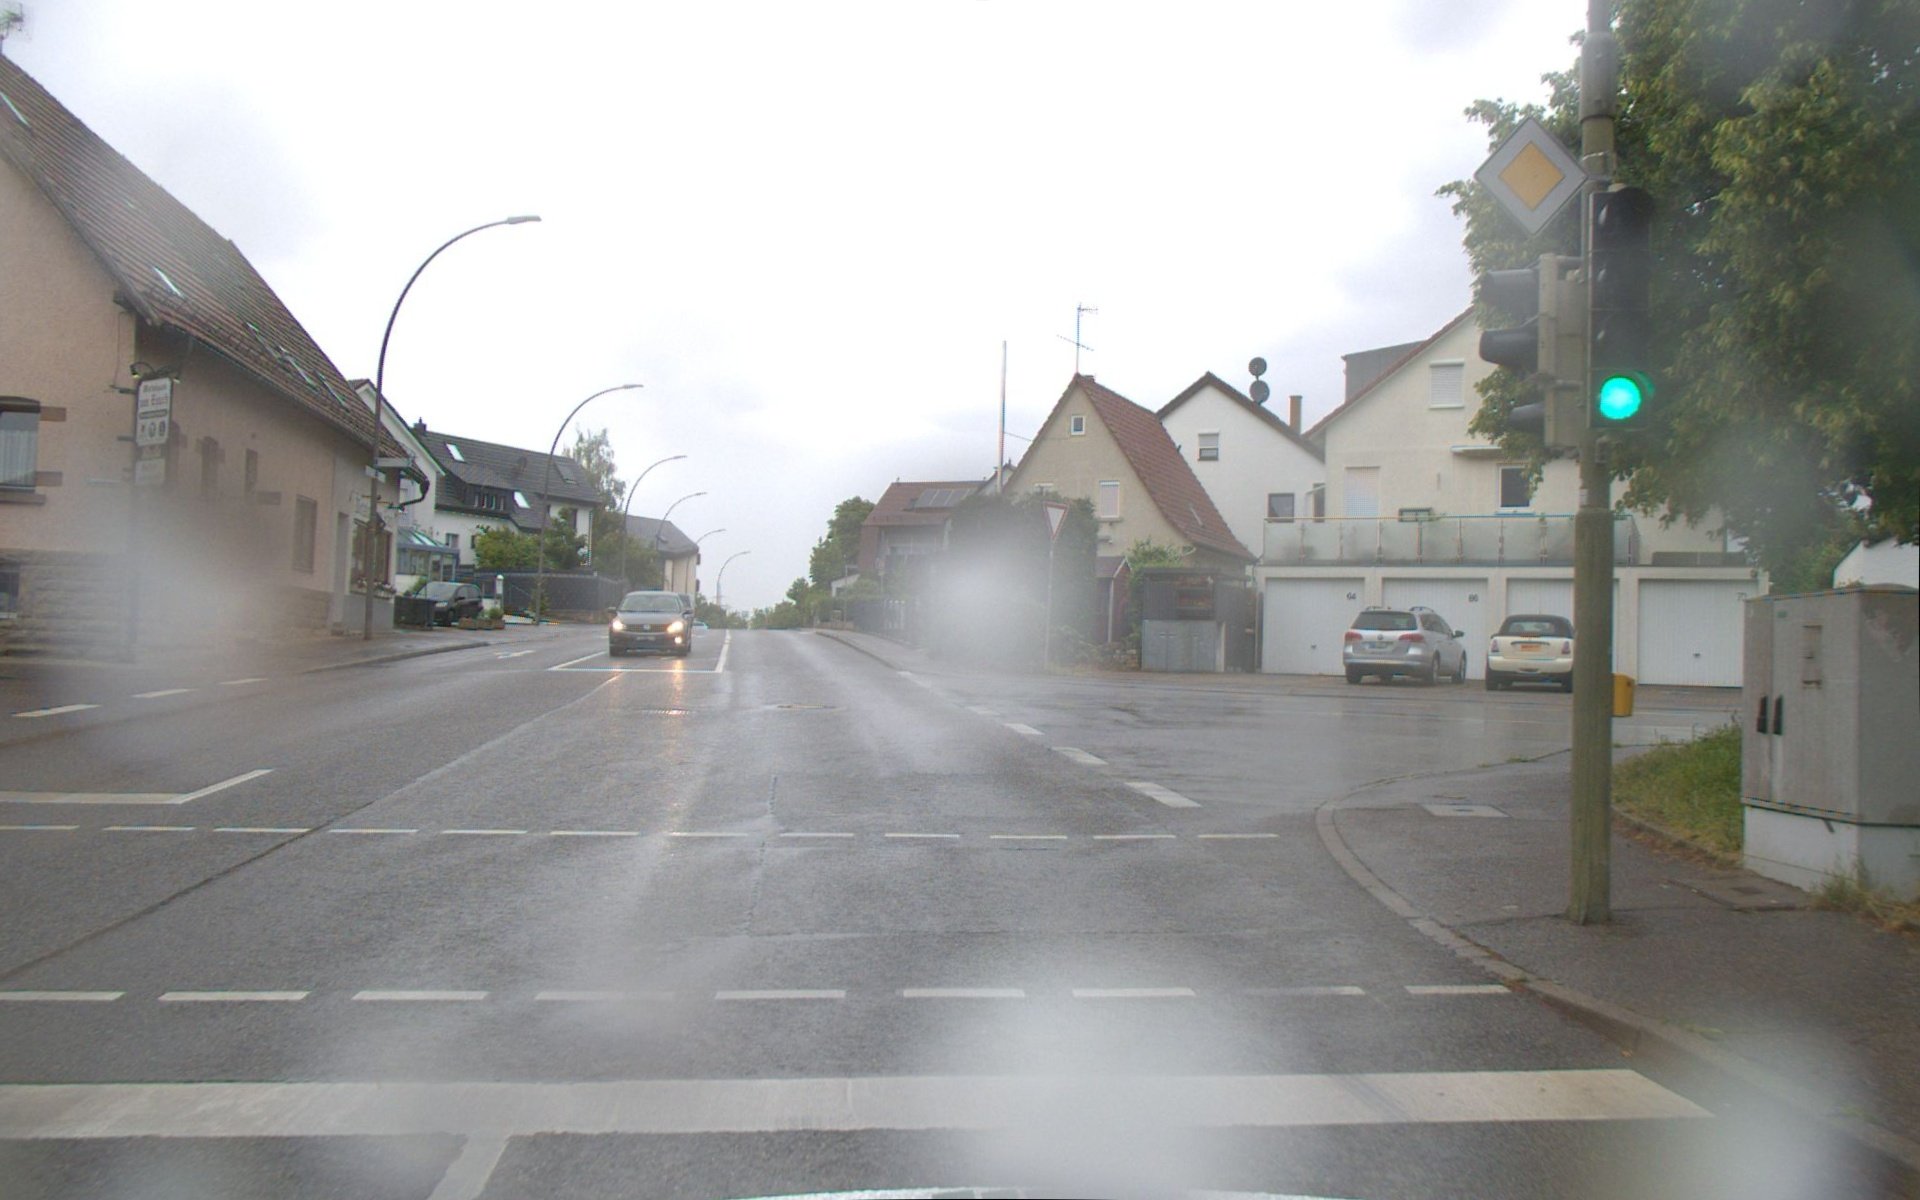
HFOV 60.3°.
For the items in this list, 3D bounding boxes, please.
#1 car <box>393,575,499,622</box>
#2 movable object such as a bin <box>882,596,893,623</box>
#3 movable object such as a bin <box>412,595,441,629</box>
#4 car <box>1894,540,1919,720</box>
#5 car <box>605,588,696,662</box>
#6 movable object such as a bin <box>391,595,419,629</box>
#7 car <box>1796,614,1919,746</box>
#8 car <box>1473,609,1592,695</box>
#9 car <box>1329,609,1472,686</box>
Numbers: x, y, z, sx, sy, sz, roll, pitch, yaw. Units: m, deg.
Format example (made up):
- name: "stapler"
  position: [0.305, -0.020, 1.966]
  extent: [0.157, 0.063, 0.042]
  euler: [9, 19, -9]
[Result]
- name: "car"
  position: [-17.764, -0.044, 57.305]
  extent: [1.861, 1.467, 3.831]
  euler: [3, 0, 11]
- name: "movable object such as a bin"
  position: [-2.887, 0.378, 65.976]
  extent: [0.434, 1.039, 0.524]
  euler: [0, -1, -2]
- name: "movable object such as a bin"
  position: [-16.545, 0.375, 51.326]
  extent: [0.624, 1.050, 0.674]
  euler: [0, -1, 6]
- name: "car"
  position: [9.709, 0.240, 12.872]
  extent: [3.902, 1.481, 1.856]
  euler: [0, -1, 16]
- name: "car"
  position: [-7.172, 0.541, 38.049]
  extent: [1.910, 1.601, 4.212]
  euler: [1, 0, -13]
- name: "movable object such as a bin"
  position: [-17.238, 0.369, 51.403]
  extent: [0.624, 1.050, 0.605]
  euler: [0, -1, 6]
- name: "car"
  position: [12.347, 0.959, 19.458]
  extent: [4.086, 1.467, 1.835]
  euler: [2, 0, 8]
- name: "car"
  position: [11.356, 0.966, 32.656]
  extent: [1.953, 1.557, 3.999]
  euler: [0, 0, 23]
- name: "car"
  position: [8.992, 0.908, 33.540]
  extent: [1.955, 1.422, 4.145]
  euler: [0, 0, 27]
